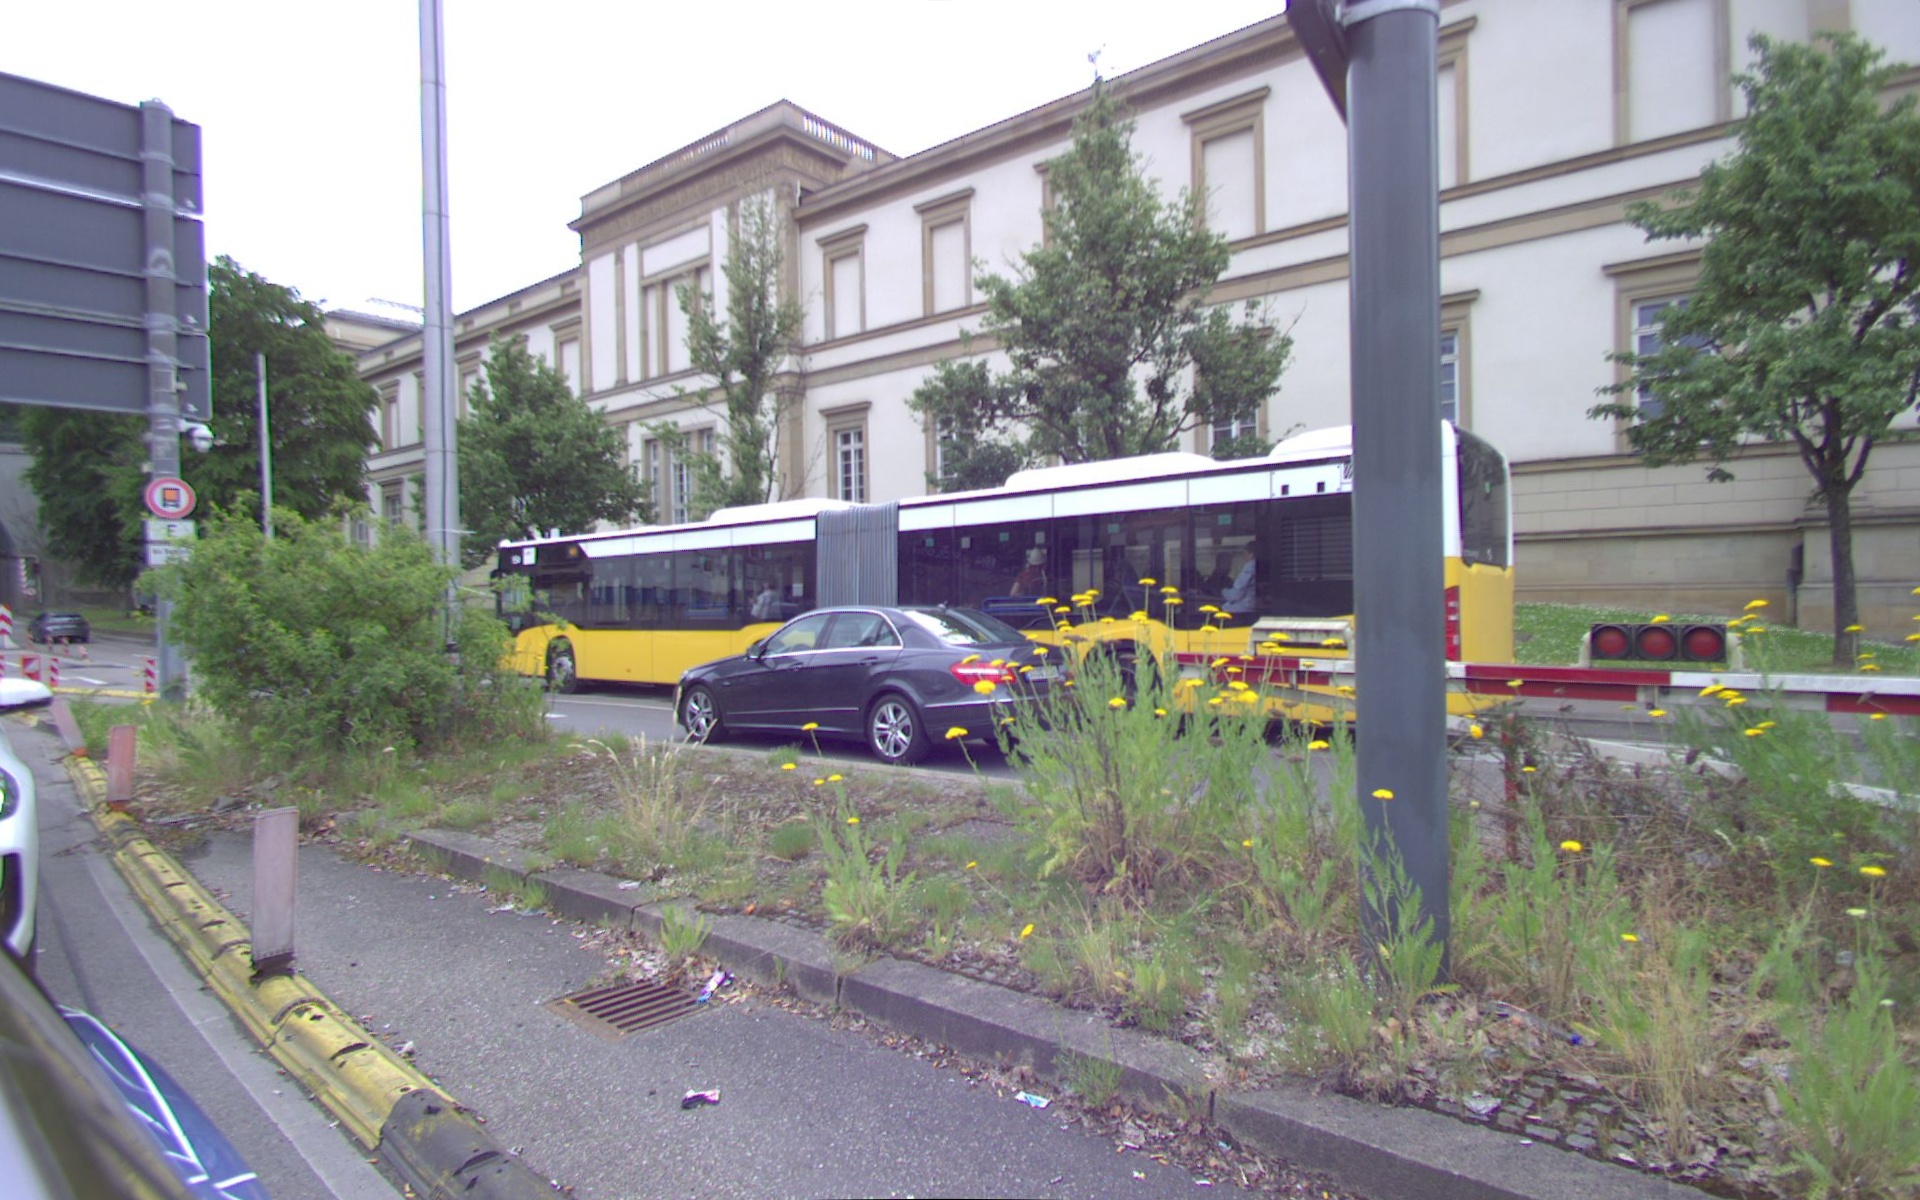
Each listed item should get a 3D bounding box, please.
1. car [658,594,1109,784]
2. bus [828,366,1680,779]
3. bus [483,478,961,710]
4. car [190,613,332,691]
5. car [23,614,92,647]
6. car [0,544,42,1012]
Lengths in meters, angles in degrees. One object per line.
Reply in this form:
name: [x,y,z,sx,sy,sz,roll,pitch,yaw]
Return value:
car: [-0.949,0.735,10.153,4.625,1.482,1.684,-1,0,40]
bus: [2.610,-0.146,11.741,9.116,3.137,2.816,-1,0,41]
bus: [-4.656,-0.011,17.830,9.738,3.137,2.818,-1,0,39]
car: [-16.092,1.149,23.236,3.879,1.601,1.680,-1,0,40]
car: [-42.707,1.438,47.862,4.282,1.525,1.690,-1,-2,38]
car: [-5.273,0.664,4.174,3.881,1.603,1.824,-2,0,42]
